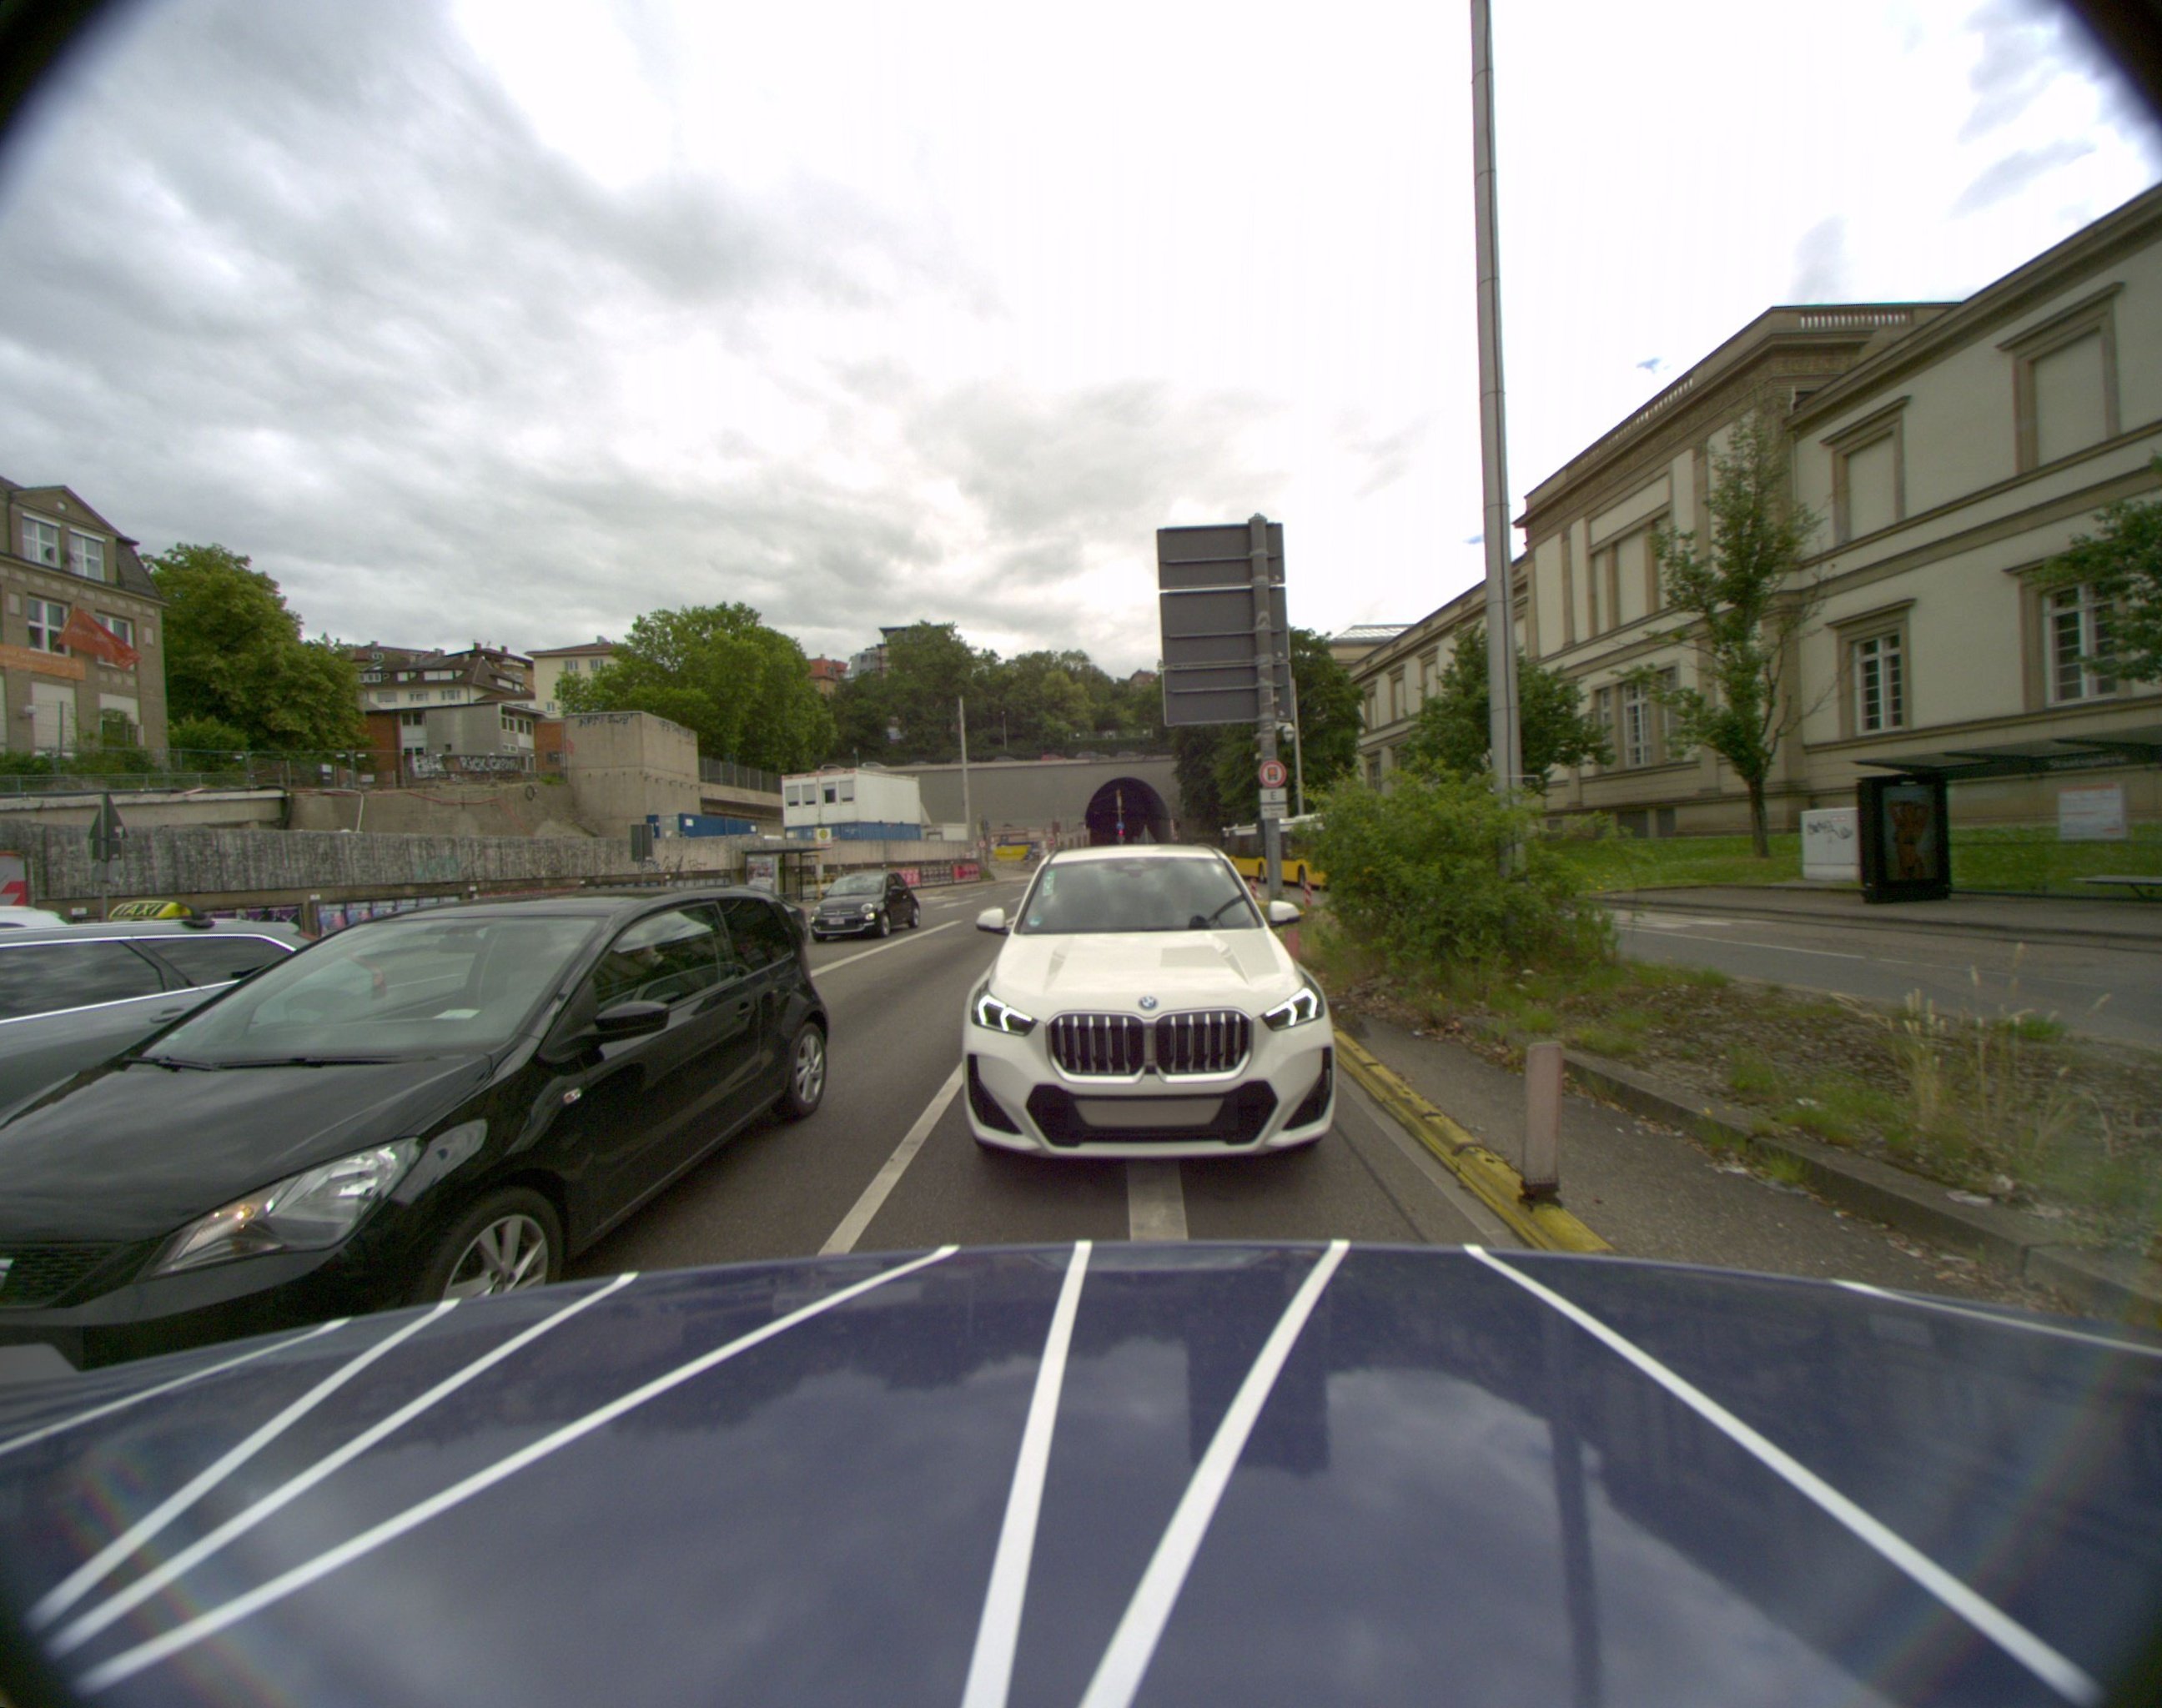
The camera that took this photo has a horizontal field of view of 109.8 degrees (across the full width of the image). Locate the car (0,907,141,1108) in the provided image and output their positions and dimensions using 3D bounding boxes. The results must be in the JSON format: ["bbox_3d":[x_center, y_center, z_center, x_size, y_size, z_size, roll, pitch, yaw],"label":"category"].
[{"bbox_3d":[-9.149,1.248,4.578,1.826,1.457,4.073,-2,1,0],"label":"car"}]

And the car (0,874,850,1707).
[{"bbox_3d":[-2.528,0.968,3.274,1.661,1.547,3.911,-2,1,3],"label":"car"}]

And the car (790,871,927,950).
[{"bbox_3d":[-4.958,1.209,17.493,1.720,1.450,3.782,-3,0,4],"label":"car"}]

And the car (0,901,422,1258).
[{"bbox_3d":[-5.823,1.133,3.454,1.826,1.457,4.217,-2,1,2],"label":"car"}]

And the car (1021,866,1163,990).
[{"bbox_3d":[0.223,0.979,11.597,1.756,1.427,3.911,-2,0,3],"label":"car"}]

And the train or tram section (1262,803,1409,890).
[{"bbox_3d":[10.135,-0.271,31.540,2.701,3.053,9.335,-1,0,-2],"label":"train or tram section"}]

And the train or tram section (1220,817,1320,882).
[{"bbox_3d":[9.869,-0.219,40.892,2.701,3.053,9.374,-1,0,-2],"label":"train or tram section"}]

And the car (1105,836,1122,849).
[{"bbox_3d":[4.111,-1.477,96.545,1.948,1.565,3.999,-2,1,1],"label":"car"}]

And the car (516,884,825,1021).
[{"bbox_3d":[-5.398,1.214,10.760,1.826,1.356,4.219,-2,0,4],"label":"car"}]

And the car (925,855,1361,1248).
[{"bbox_3d":[0.341,0.837,5.122,1.756,1.547,3.911,-2,1,3],"label":"car"}]
